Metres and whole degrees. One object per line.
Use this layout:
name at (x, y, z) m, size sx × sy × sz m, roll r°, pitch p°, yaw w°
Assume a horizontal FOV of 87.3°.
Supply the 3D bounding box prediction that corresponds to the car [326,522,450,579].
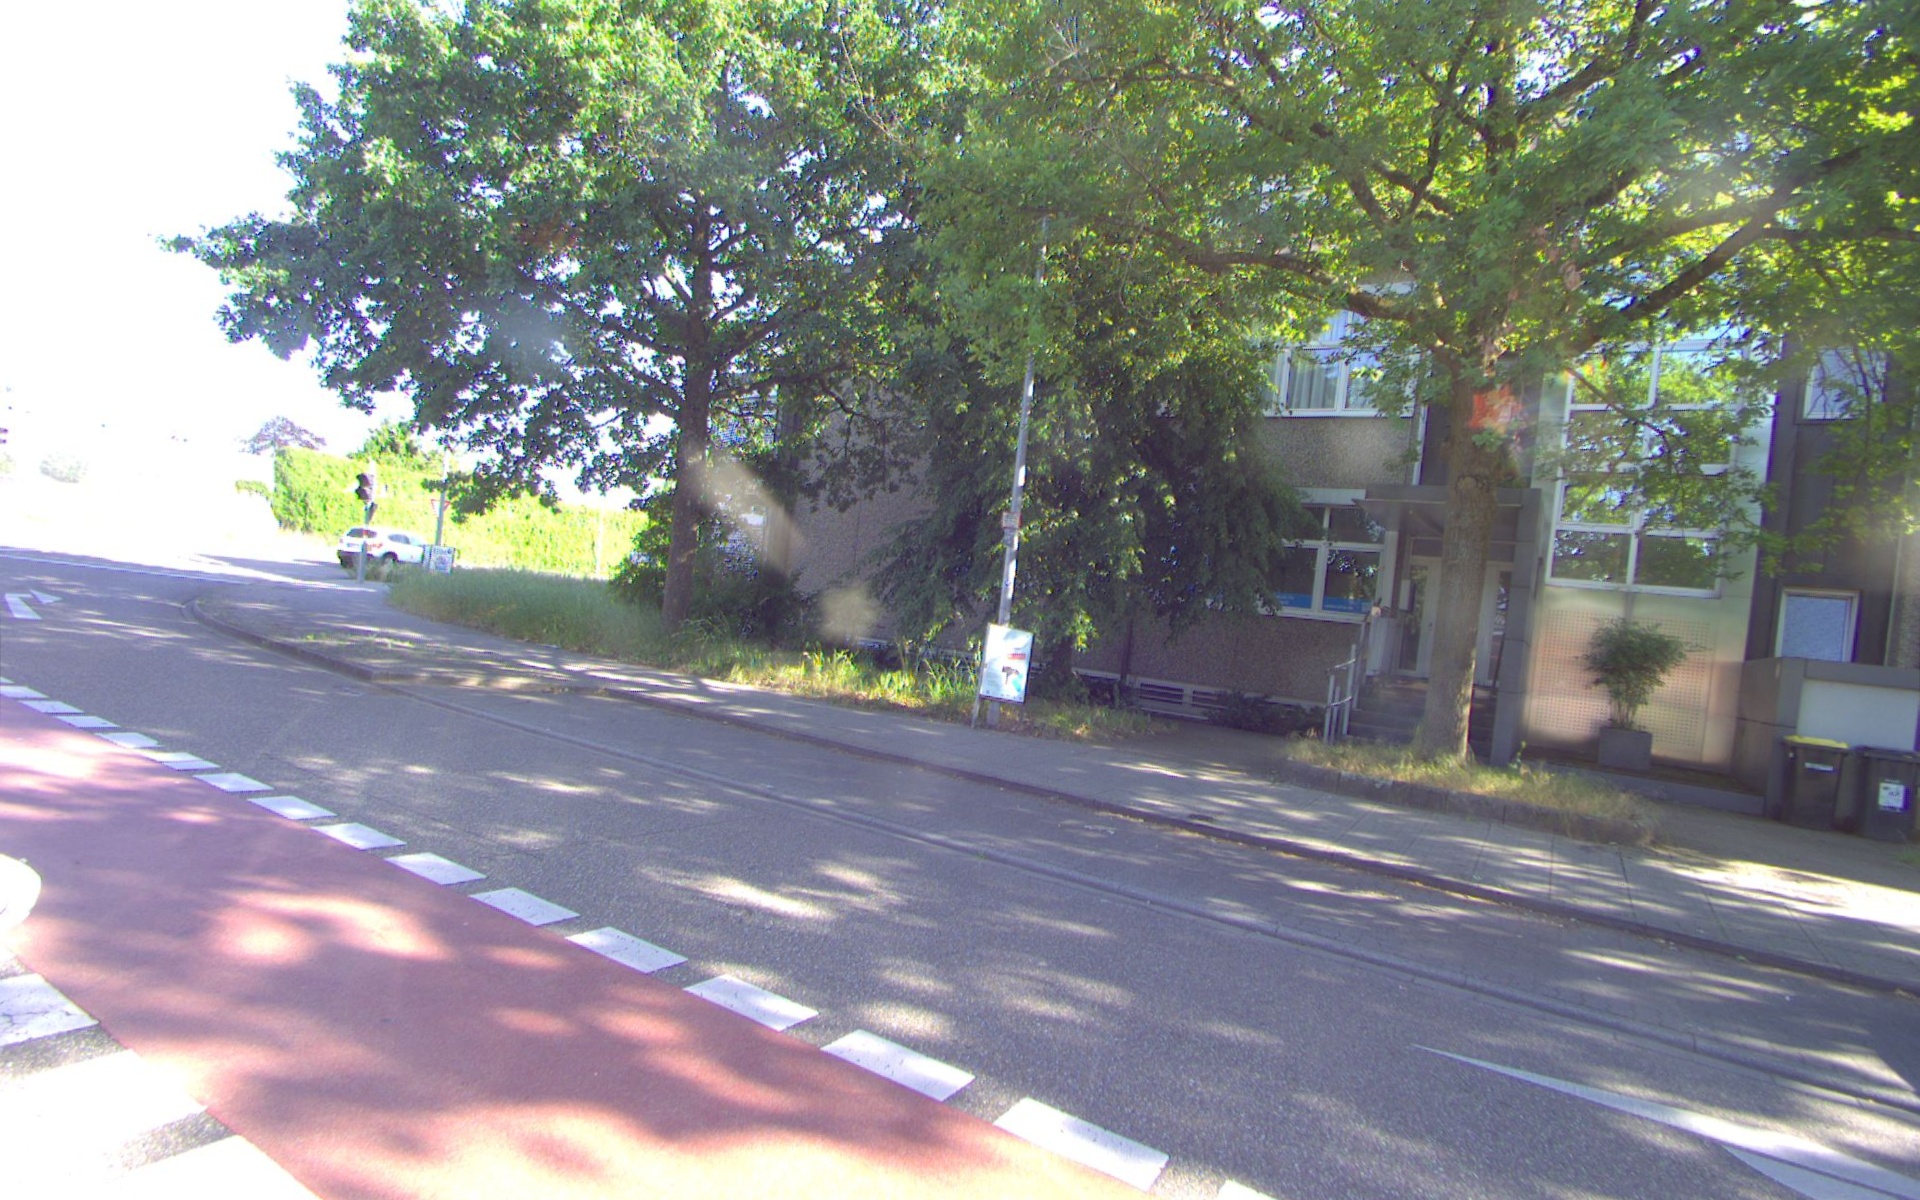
car at (-21.030, -1.777, 37.197) m, size 1.690 × 1.627 × 4.068 m, roll 8°, pitch 1°, yaw 8°

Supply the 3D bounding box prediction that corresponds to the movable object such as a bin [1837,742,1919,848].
movable object such as a bin at (10.758, 2.249, 11.720) m, size 0.605 × 1.075 × 0.634 m, roll 6°, pitch 0°, yaw 30°

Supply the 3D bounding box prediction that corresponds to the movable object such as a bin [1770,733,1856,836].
movable object such as a bin at (10.169, 2.180, 12.014) m, size 0.575 × 1.070 × 0.625 m, roll 7°, pitch 0°, yaw 30°
